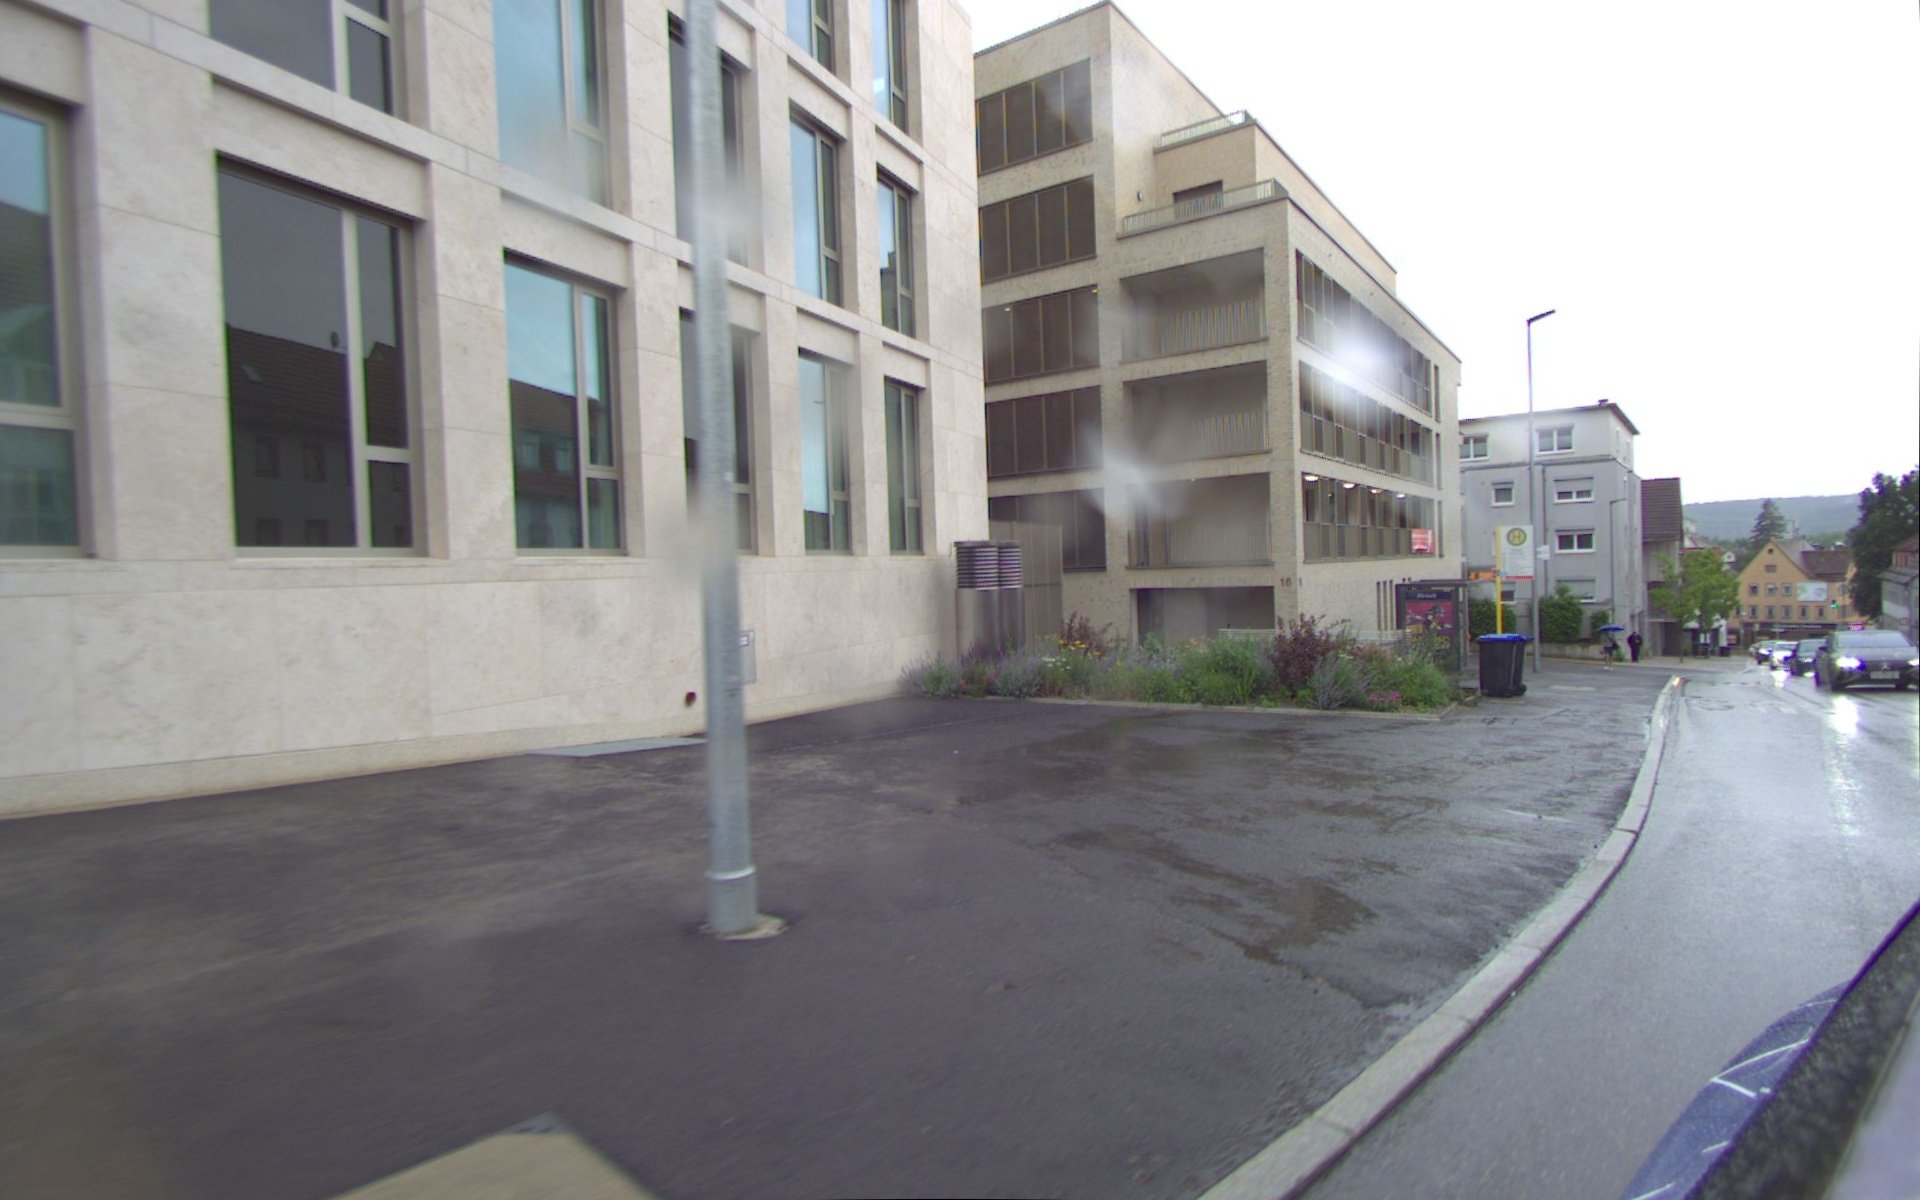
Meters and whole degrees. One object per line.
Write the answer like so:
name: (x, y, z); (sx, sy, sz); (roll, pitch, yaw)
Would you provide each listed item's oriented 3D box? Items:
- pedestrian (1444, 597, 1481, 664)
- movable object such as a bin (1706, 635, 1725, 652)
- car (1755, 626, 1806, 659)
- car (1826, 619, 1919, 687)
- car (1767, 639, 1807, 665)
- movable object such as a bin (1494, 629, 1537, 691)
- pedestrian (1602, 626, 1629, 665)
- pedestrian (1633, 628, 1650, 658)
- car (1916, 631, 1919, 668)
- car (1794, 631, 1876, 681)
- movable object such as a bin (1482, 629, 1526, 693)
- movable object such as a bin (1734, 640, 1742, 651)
pedestrian: (15.043, 0.906, 30.311); (0.781, 1.965, 1.007); (1, -1, 38)
movable object such as a bin: (63.729, 3.682, 85.408); (1.233, 1.352, 1.155); (0, -2, 41)
car: (42.649, 2.237, 52.628); (1.959, 1.629, 4.319); (-1, -4, 39)
car: (23.220, 1.293, 25.487); (1.959, 1.578, 4.556); (-1, -2, 39)
car: (55.088, 3.483, 67.426); (1.959, 1.629, 4.319); (-1, -4, 39)
movable object such as a bin: (9.982, 1.061, 18.195); (0.594, 1.076, 0.571); (-1, -2, 38)
pedestrian: (26.945, 1.857, 41.575); (0.735, 1.561, 1.022); (3, 0, 41)
pedestrian: (36.360, 2.311, 53.960); (0.687, 1.576, 0.702); (-2, -3, 32)
car: (40.529, 2.074, 41.496); (1.555, 1.555, 3.402); (1, -1, 37)
car: (33.962, 2.173, 39.398); (1.956, 1.793, 4.325); (-1, -4, 35)
movable object such as a bin: (9.480, 1.045, 17.641); (0.594, 1.076, 0.571); (-1, -2, 38)
movable object such as a bin: (76.055, 4.483, 98.926); (0.594, 1.041, 0.469); (1, -1, 41)
